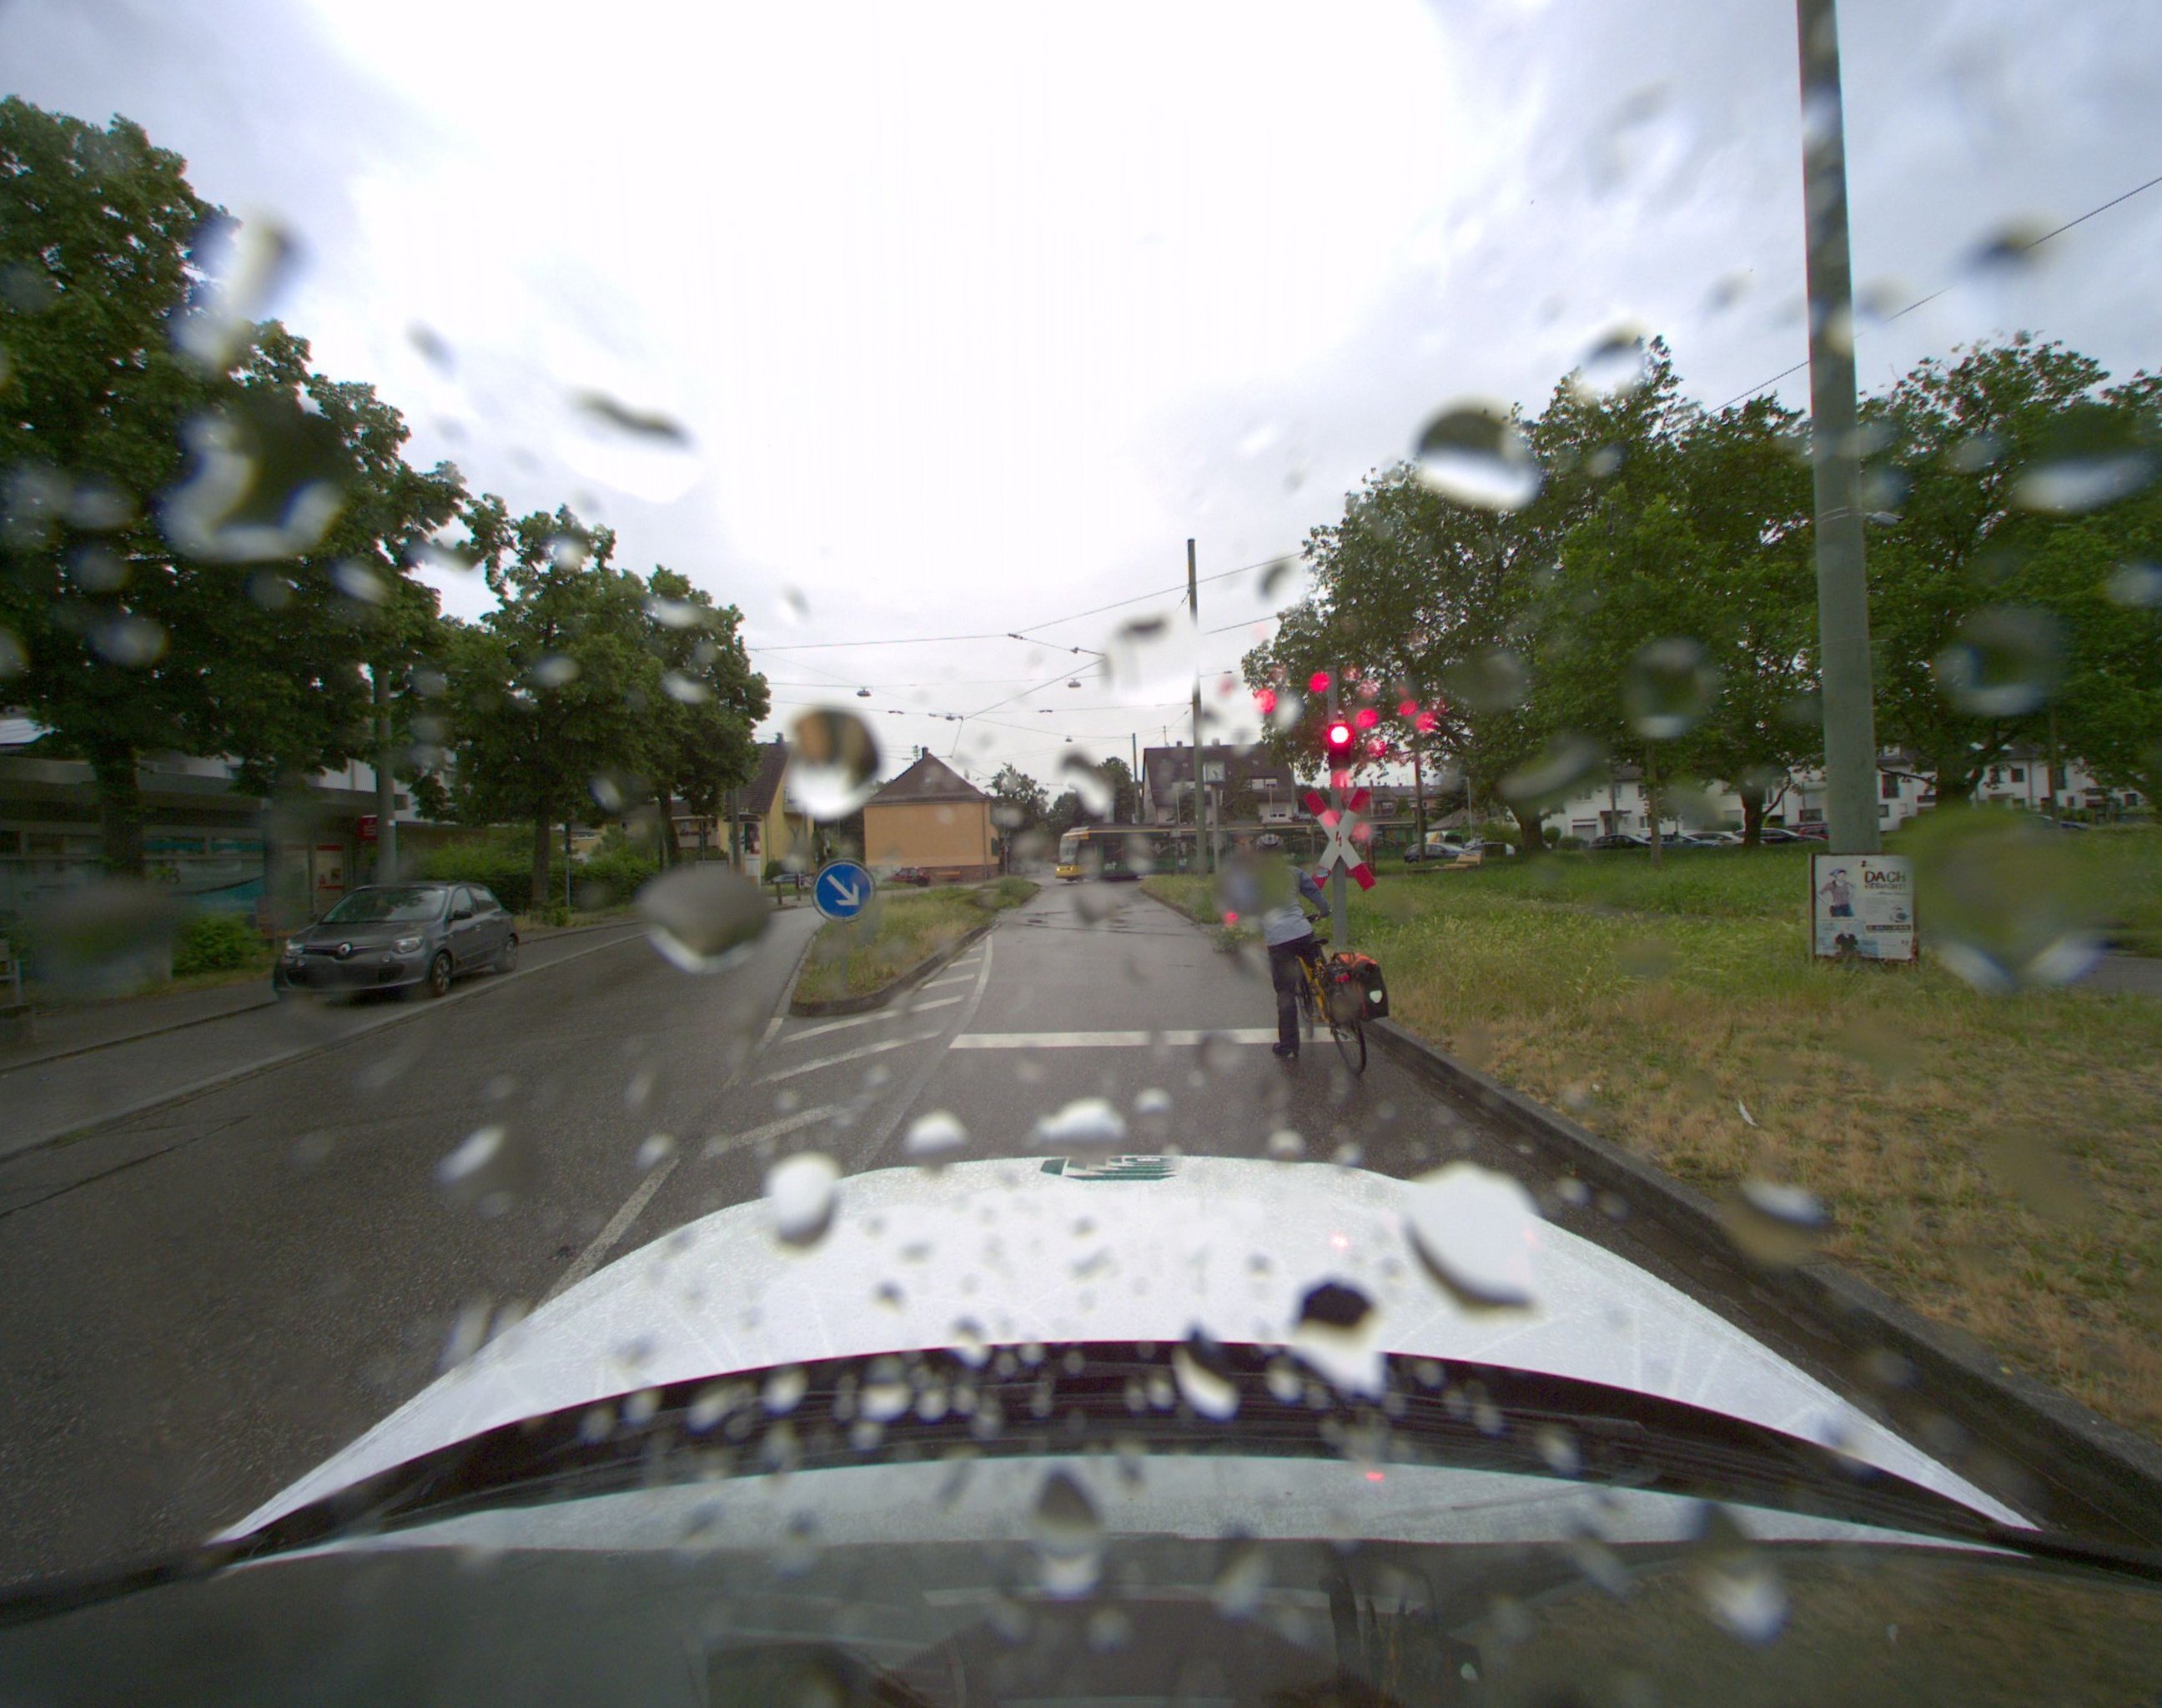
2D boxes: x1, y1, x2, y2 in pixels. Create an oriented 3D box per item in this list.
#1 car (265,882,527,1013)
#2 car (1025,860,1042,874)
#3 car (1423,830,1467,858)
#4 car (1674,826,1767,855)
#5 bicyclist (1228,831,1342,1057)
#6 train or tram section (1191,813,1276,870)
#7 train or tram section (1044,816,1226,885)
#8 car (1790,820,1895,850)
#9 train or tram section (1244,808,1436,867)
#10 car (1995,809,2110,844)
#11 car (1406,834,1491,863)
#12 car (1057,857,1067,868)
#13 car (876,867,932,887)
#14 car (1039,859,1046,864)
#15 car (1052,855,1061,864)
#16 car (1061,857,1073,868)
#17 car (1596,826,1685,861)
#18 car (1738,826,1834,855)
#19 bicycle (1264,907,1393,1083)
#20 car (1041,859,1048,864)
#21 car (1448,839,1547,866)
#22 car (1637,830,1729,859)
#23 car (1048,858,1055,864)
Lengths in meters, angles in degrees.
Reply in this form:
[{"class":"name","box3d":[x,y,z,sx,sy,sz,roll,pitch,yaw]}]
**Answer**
[{"class":"car","box3d":[-9.677,1.202,11.881,1.621,1.496,3.645,0,-1,-18]},{"class":"car","box3d":[-5.592,1.530,96.022,1.799,1.651,3.999,0,-1,0]},{"class":"car","box3d":[32.585,-0.877,72.994,1.987,2.443,4.354,0,-1,1]},{"class":"car","box3d":[35.713,-0.695,45.521,1.821,1.495,3.867,0,-1,-44]},{"class":"bicyclist","box3d":[1.544,0.652,6.299,0.665,1.626,0.853,0,-1,1]},{"class":"train or tram section","box3d":[10.359,-0.845,55.382,5.004,3.552,2.743,-4,1,-31]},{"class":"train or tram section","box3d":[3.661,-0.360,50.632,12.259,3.552,2.739,-4,2,-36]},{"class":"car","box3d":[42.635,-1.031,45.682,1.814,1.495,3.881,0,-1,-27]},{"class":"train or tram section","box3d":[18.258,-1.206,57.512,13.093,3.553,2.760,-3,0,-11]},{"class":"car","box3d":[54.641,-1.523,45.858,1.815,1.765,3.878,0,-1,-29]},{"class":"car","box3d":[20.199,-0.260,44.836,1.821,1.495,3.867,0,-1,-44]},{"class":"car","box3d":[-3.434,1.550,147.715,1.799,1.811,3.999,-2,-1,0]},{"class":"car","box3d":[-13.651,1.752,63.074,3.979,1.456,1.831,0,-1,-5]},{"class":"car","box3d":[-10.995,2.124,234.276,1.799,1.461,3.999,0,-1,0]},{"class":"car","box3d":[-4.911,1.133,165.001,1.799,1.811,3.999,0,-1,0]},{"class":"car","box3d":[-2.214,1.324,128.189,1.799,1.811,3.999,0,-1,0]},{"class":"car","box3d":[30.548,-0.553,44.533,1.821,1.798,3.721,0,-1,-44]},{"class":"car","box3d":[39.272,-0.723,45.408,1.821,1.495,3.867,0,-1,-44]},{"class":"bicycle","box3d":[1.797,0.968,6.140,0.444,1.004,1.728,-2,0,1]},{"class":"car","box3d":[-10.126,2.058,228.960,1.799,1.461,3.999,0,-1,0]},{"class":"car","box3d":[20.511,-0.074,40.249,3.964,1.285,1.851,-1,-1,9]},{"class":"car","box3d":[33.209,-0.498,44.992,1.821,1.495,3.867,0,-1,-44]},{"class":"car","box3d":[-7.687,1.797,211.708,1.799,1.564,3.999,0,-1,0]}]
